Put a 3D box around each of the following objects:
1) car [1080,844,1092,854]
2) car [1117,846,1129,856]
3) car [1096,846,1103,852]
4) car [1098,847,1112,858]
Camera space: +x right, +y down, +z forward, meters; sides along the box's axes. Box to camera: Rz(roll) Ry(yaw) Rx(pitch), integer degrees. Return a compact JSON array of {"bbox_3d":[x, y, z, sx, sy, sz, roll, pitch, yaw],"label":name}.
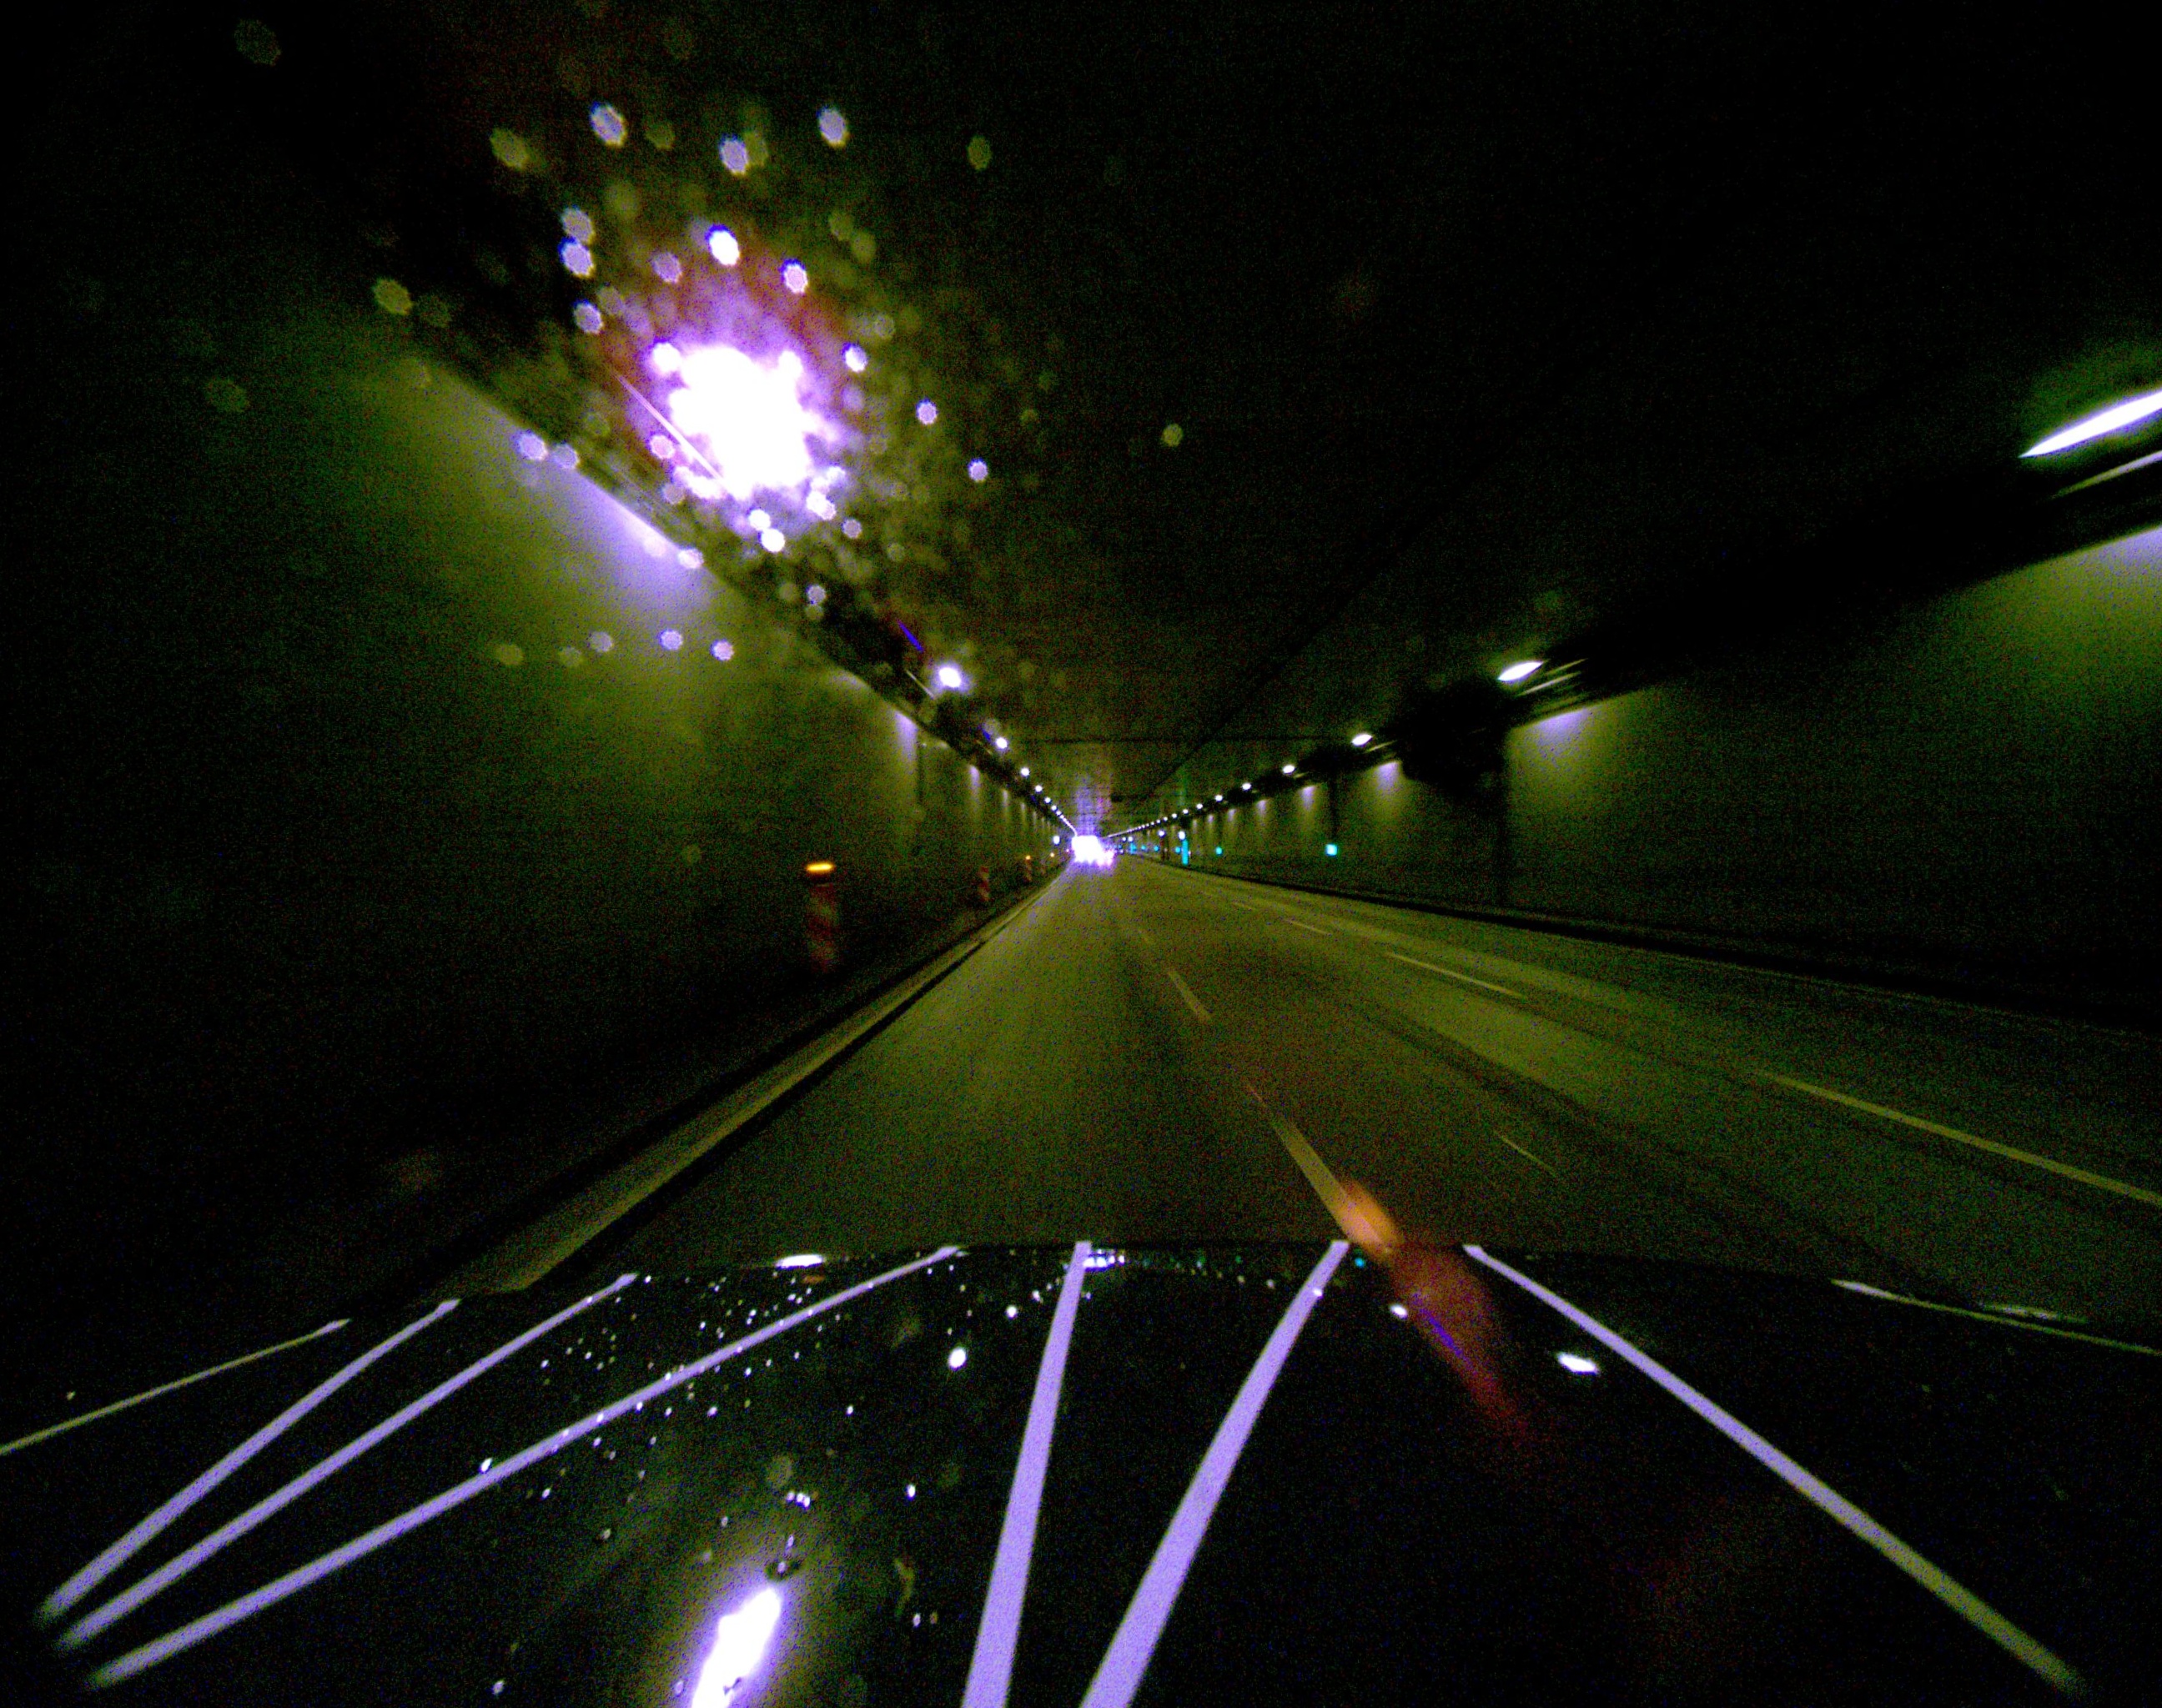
[{"bbox_3d":[0.932,-0.935,137.629,1.998,1.686,4.000,-1,1,1],"label":"car"},{"bbox_3d":[7.914,-0.548,143.071,1.998,1.685,4.000,0,0,1],"label":"car"},{"bbox_3d":[5.224,-1.468,213.640,1.998,1.756,4.000,-1,1,1],"label":"car"},{"bbox_3d":[3.754,-0.240,120.316,1.998,1.685,4.000,-1,0,0],"label":"car"}]
